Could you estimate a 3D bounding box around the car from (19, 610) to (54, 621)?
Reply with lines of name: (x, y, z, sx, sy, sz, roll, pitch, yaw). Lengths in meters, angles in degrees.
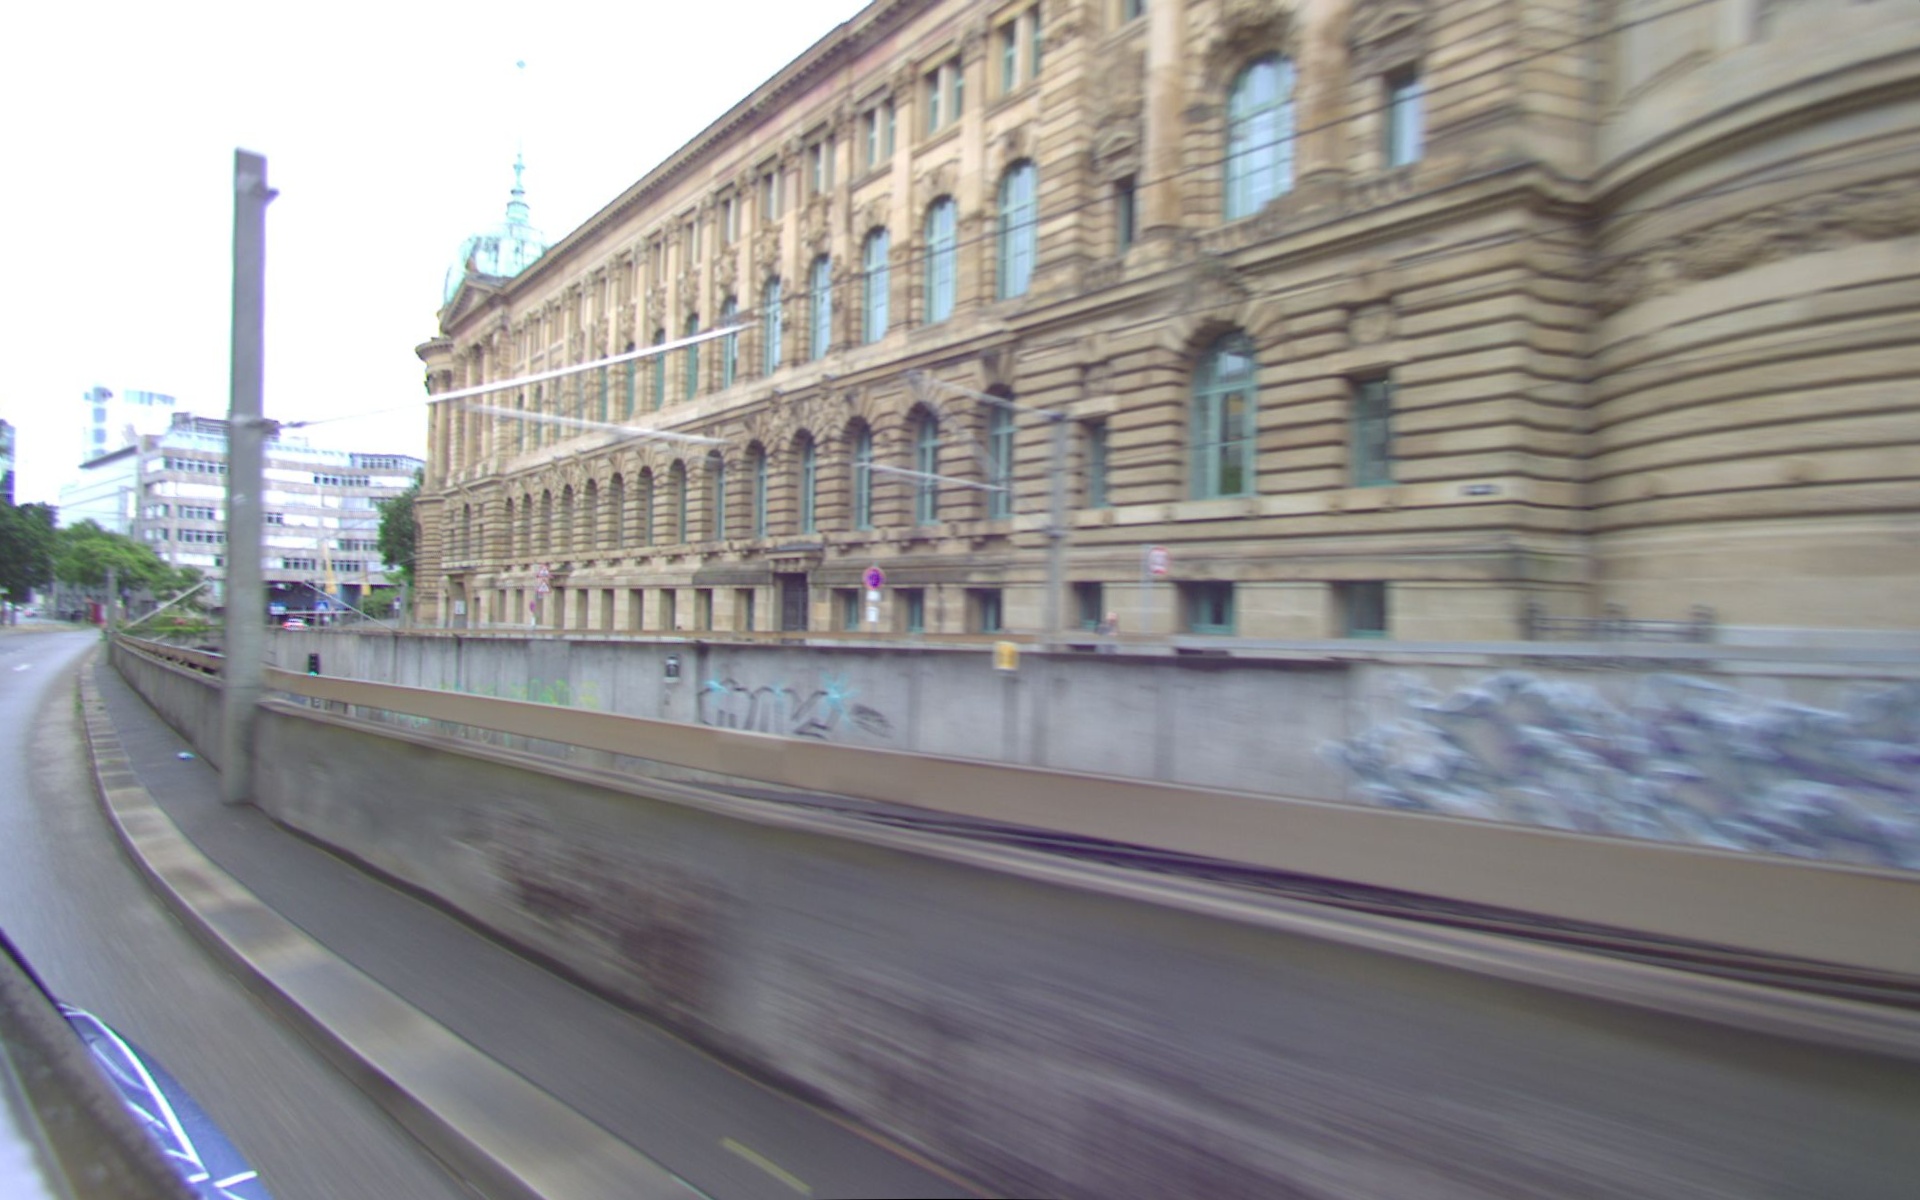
car: (-150.528, 2.522, 164.978, 1.790, 1.663, 3.738, 1, -3, 26)

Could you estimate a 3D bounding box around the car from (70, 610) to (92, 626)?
car: (-123.362, 2.513, 142.003, 1.971, 2.095, 4.002, 1, -1, -45)
